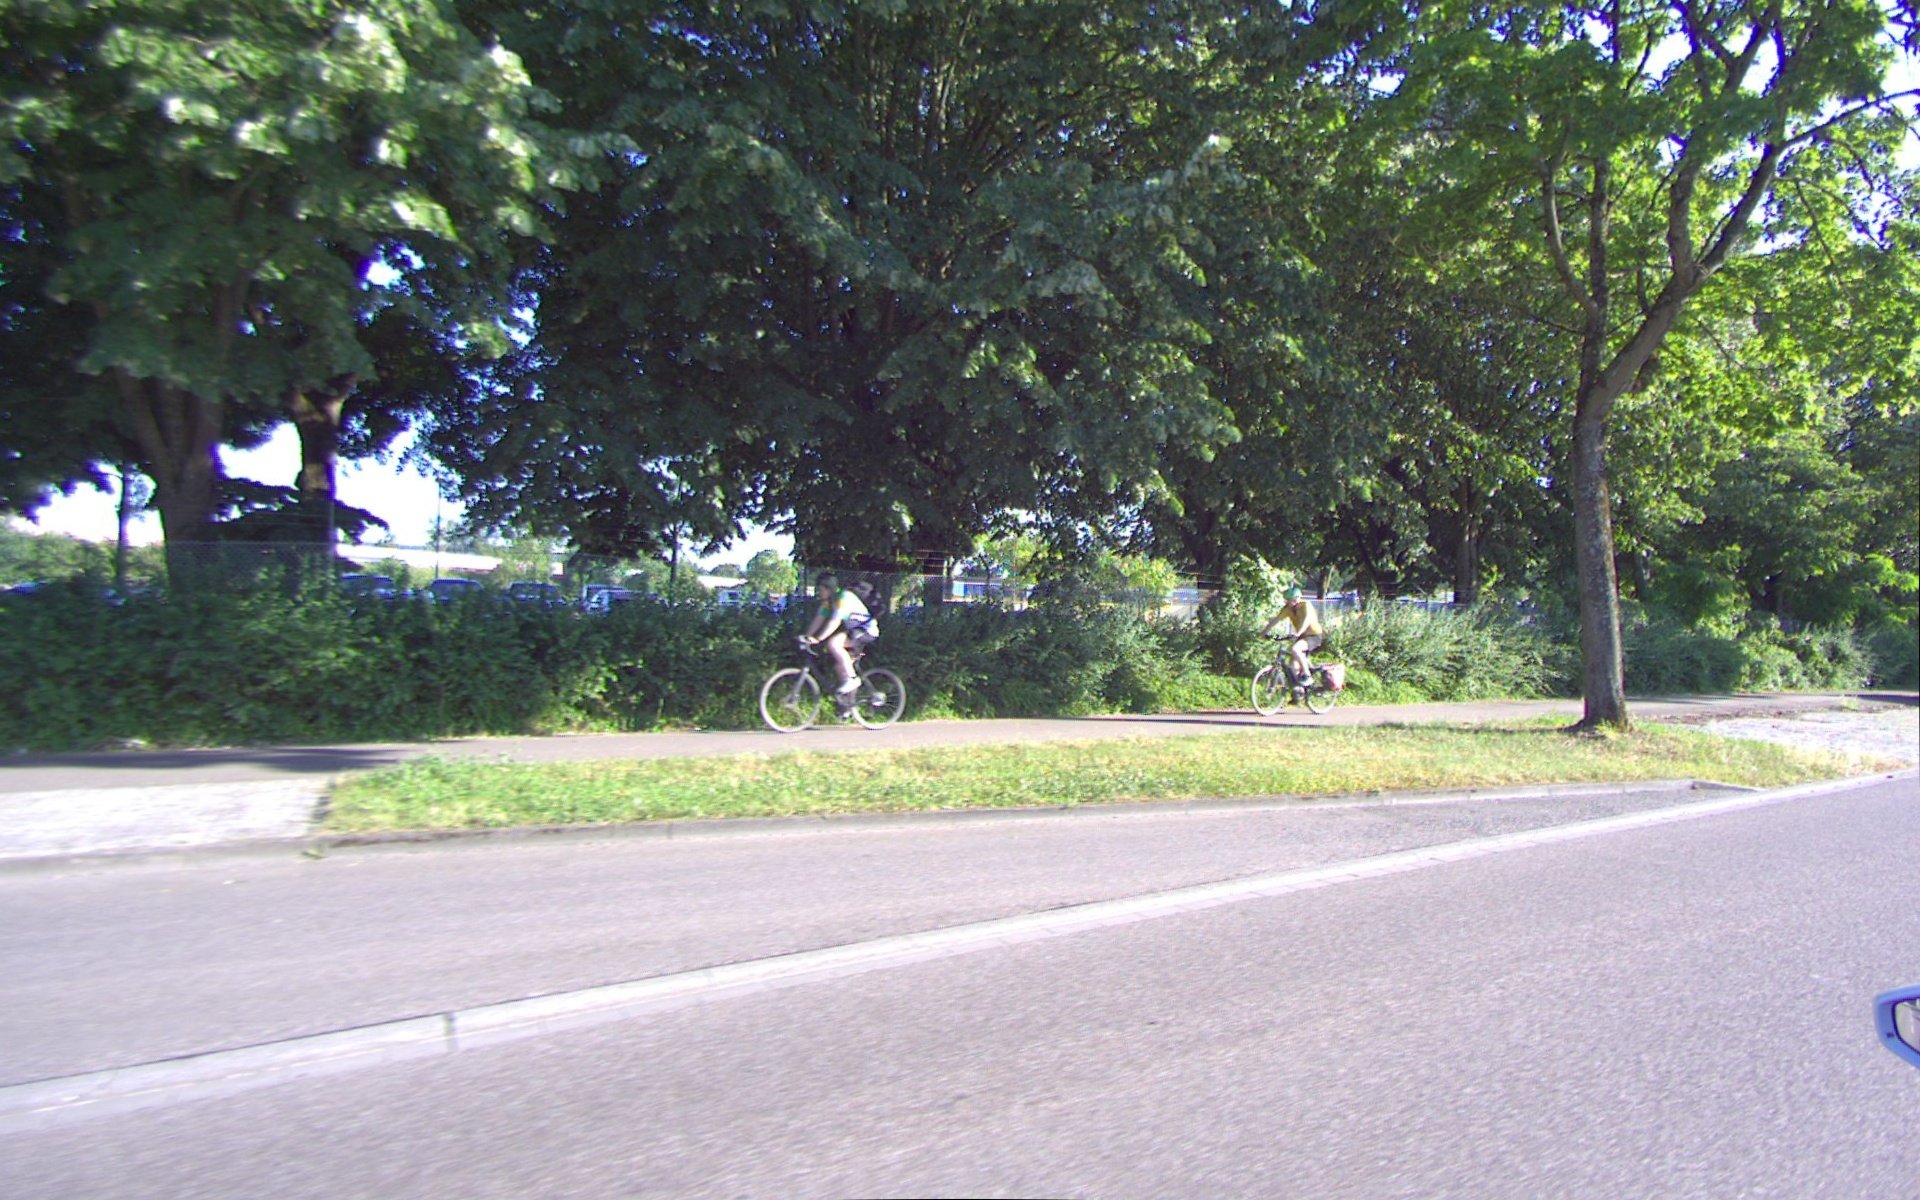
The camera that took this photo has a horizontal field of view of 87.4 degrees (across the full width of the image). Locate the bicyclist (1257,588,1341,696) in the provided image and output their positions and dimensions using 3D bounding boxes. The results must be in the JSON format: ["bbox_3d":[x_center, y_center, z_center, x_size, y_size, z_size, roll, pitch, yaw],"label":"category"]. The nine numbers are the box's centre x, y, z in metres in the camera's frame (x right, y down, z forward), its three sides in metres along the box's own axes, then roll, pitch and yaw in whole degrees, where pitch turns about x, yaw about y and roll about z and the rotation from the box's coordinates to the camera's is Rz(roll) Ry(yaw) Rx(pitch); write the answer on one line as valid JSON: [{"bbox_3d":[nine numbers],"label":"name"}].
[{"bbox_3d":[5.036,0.627,14.943,0.940,1.550,0.727,2,-2,-30],"label":"bicyclist"}]

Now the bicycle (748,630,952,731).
[{"bbox_3d":[-1.235,0.907,11.526,2.192,1.053,0.762,3,-2,-30],"label":"bicycle"}]

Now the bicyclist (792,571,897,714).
[{"bbox_3d":[-1.313,0.482,11.418,0.940,1.550,0.727,2,-2,-30],"label":"bicyclist"}]

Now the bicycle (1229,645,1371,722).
[{"bbox_3d":[5.092,1.230,15.005,2.192,1.053,0.762,3,-2,-30],"label":"bicycle"}]
